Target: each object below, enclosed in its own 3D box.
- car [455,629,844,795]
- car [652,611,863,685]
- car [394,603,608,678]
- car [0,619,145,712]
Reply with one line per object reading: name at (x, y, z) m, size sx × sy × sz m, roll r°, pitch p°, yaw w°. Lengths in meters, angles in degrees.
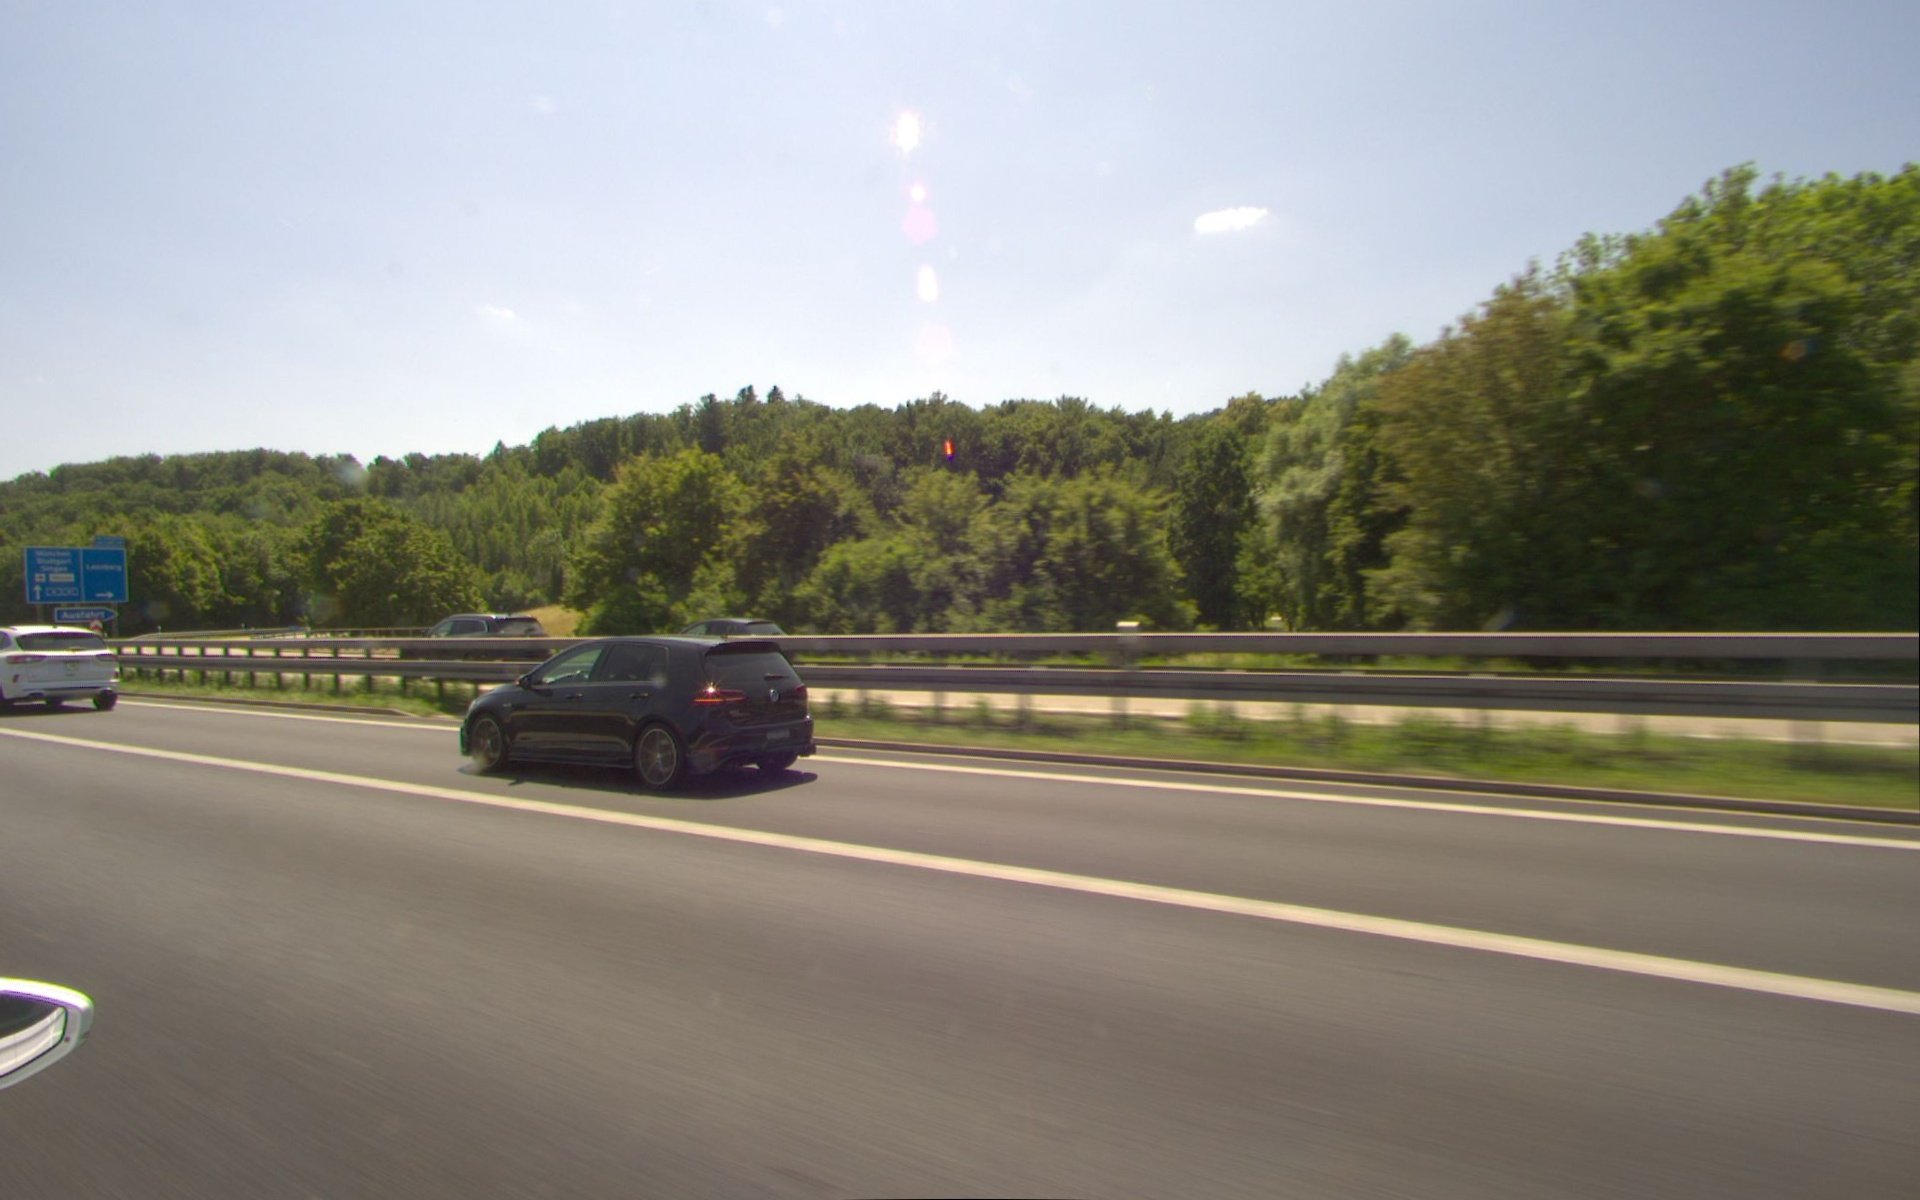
car at (-3.325, 1.045, 10.576) m, size 3.908 × 1.454 × 1.792 m, roll -1°, pitch -2°, yaw 31°
car at (-5.097, 1.167, 24.982) m, size 5.150 × 1.683 × 1.991 m, roll -1°, pitch -2°, yaw 30°
car at (-11.453, 1.001, 24.869) m, size 5.542 × 1.683 × 1.992 m, roll -1°, pitch -2°, yaw 29°
car at (-18.654, 1.266, 20.279) m, size 4.403 × 1.683 × 1.991 m, roll -1°, pitch -2°, yaw 31°
